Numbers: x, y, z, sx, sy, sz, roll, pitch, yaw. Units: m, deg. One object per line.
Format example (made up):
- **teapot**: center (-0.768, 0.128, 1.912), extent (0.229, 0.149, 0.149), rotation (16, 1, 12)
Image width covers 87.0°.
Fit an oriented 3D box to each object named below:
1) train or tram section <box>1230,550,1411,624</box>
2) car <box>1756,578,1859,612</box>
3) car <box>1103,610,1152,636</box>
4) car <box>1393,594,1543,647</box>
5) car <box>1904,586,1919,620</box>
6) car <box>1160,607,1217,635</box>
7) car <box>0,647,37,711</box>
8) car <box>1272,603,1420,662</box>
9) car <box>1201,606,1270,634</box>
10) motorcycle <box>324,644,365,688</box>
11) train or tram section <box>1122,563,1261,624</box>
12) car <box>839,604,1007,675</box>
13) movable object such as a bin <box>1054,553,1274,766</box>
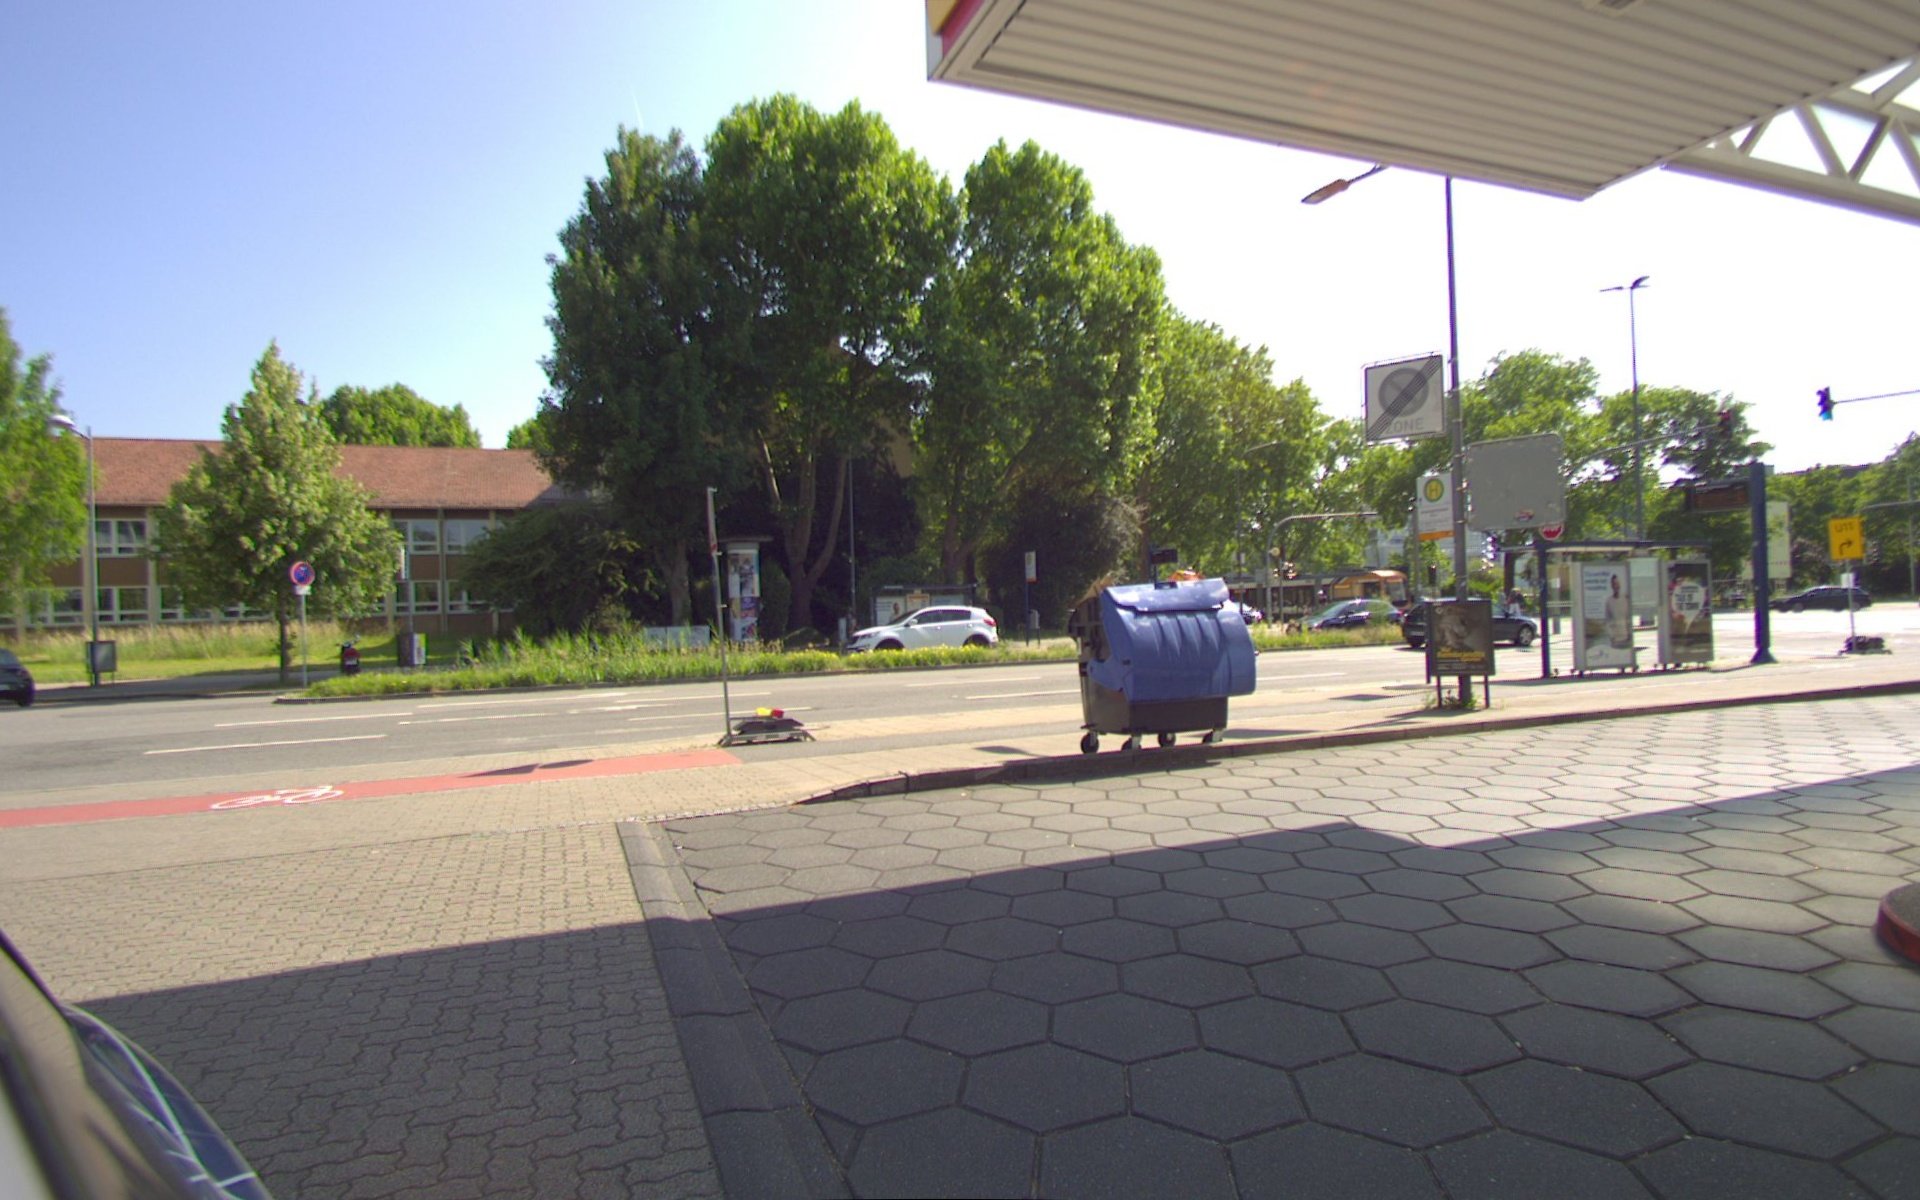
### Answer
- **train or tram section**: center (24.523, -0.672, 70.512), extent (2.288, 4.524, 14.993), rotation (-1, -1, -22)
- **car**: center (46.452, -0.250, 55.551), extent (1.968, 1.717, 4.007), rotation (-1, -1, -40)
- **car**: center (12.599, 1.745, 76.261), extent (1.837, 1.702, 4.012), rotation (-1, -3, -21)
- **car**: center (14.734, 0.549, 29.353), extent (3.932, 1.377, 1.691), rotation (-1, 1, -22)
- **car**: center (54.390, 0.040, 54.866), extent (4.165, 1.819, 1.993), rotation (-3, -3, 11)
- **car**: center (15.597, 1.459, 69.203), extent (1.837, 1.702, 4.012), rotation (-1, -3, -21)
- **car**: center (-24.237, 1.967, 24.556), extent (4.213, 1.471, 1.722), rotation (-4, -2, 33)
- **car**: center (13.147, 1.085, 34.545), extent (4.316, 1.782, 2.006), rotation (-2, -1, -17)
- **car**: center (17.154, 1.268, 63.257), extent (1.837, 1.524, 4.012), rotation (-1, -3, -28)
- **motorcycle**: center (-16.654, 1.774, 27.377), extent (0.549, 1.122, 1.760), rotation (-1, -1, -45)
- **train or tram section**: center (18.827, -0.338, 84.356), extent (2.288, 4.524, 15.977), rotation (-1, -1, -22)
- **car**: center (-1.068, 1.077, 28.782), extent (4.315, 1.782, 2.006), rotation (-2, 0, -21)
- **movable object such as a bin**: center (1.764, 0.505, 8.988), extent (1.314, 1.701, 1.347), rotation (-1, -3, -21)
